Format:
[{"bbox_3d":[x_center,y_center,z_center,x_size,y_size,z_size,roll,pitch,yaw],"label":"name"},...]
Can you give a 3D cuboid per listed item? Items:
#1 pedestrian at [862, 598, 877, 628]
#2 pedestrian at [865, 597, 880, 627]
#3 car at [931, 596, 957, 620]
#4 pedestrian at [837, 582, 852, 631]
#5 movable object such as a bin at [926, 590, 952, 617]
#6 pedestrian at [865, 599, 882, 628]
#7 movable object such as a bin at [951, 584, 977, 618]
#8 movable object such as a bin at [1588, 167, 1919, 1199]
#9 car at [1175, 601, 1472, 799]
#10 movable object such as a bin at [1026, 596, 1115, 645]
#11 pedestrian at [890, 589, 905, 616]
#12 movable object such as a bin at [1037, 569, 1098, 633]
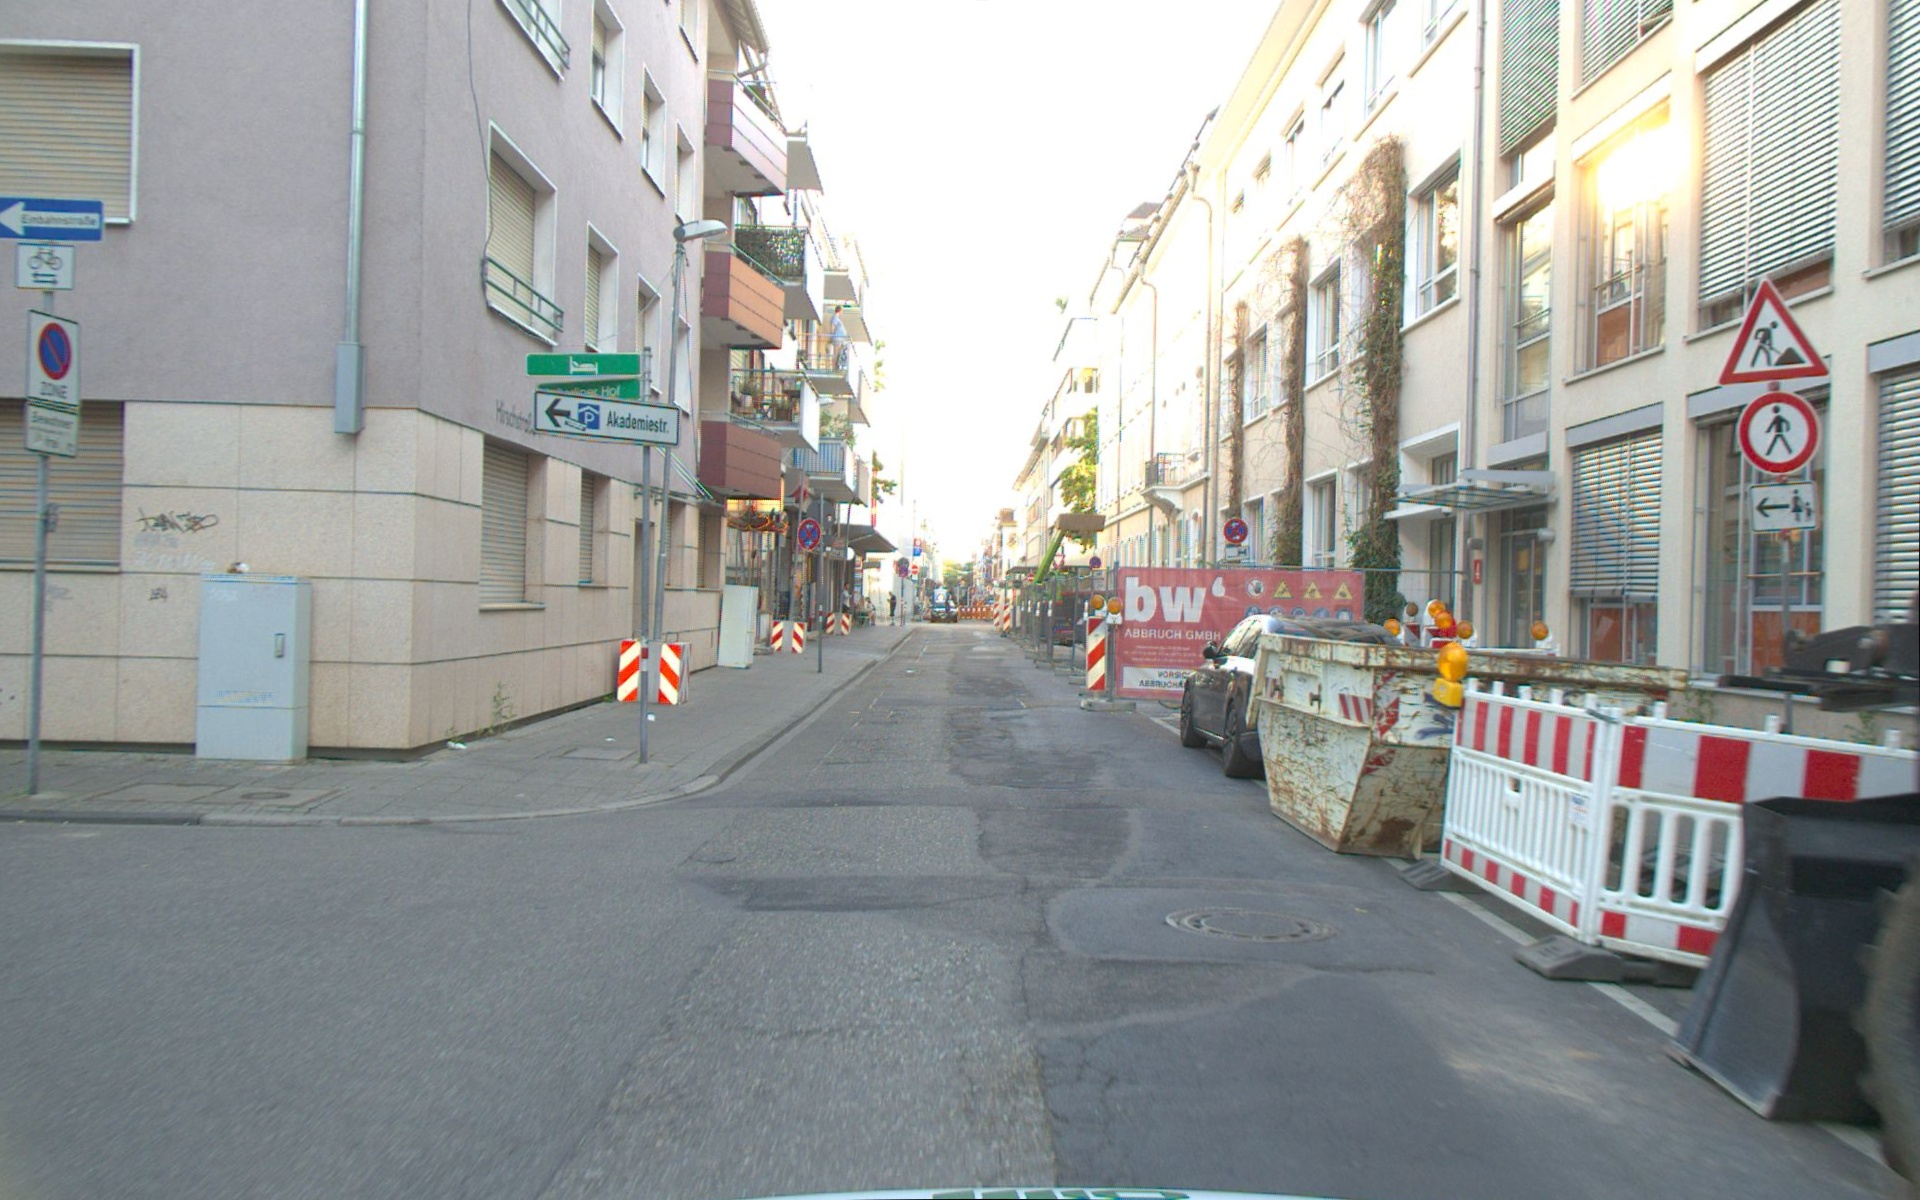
[{"bbox_3d":[-4.090,0.587,74.753,0.561,1.297,0.713,3,0,0],"label":"pedestrian"},{"bbox_3d":[-4.020,0.546,75.919,0.561,1.297,0.713,3,0,0],"label":"pedestrian"},{"bbox_3d":[-1.089,0.531,110.940,1.597,1.577,3.140,1,0,-3],"label":"car"},{"bbox_3d":[-4.481,0.238,64.000,0.520,1.866,0.562,1,0,-6],"label":"pedestrian"},{"bbox_3d":[-1.590,0.273,126.094,1.952,2.049,4.000,0,0,0],"label":"movable object such as a bin"},{"bbox_3d":[-3.994,0.614,76.822,0.688,1.298,0.713,3,0,0],"label":"pedestrian"},{"bbox_3d":[0.302,0.082,136.248,2.112,2.710,4.572,1,0,0],"label":"movable object such as a bin"},{"bbox_3d":[3.436,0.263,3.417,1.975,2.668,5.751,3,1,0],"label":"movable object such as a bin"},{"bbox_3d":[3.258,0.818,15.712,1.751,1.497,4.445,3,0,0],"label":"car"},{"bbox_3d":[4.079,0.729,62.607,2.680,1.667,7.550,2,0,-1],"label":"movable object such as a bin"},{"bbox_3d":[-3.074,0.110,81.157,0.697,1.298,0.704,2,0,0],"label":"pedestrian"},{"bbox_3d":[4.965,0.047,77.215,2.551,2.888,4.450,0,0,0],"label":"movable object such as a bin"}]
